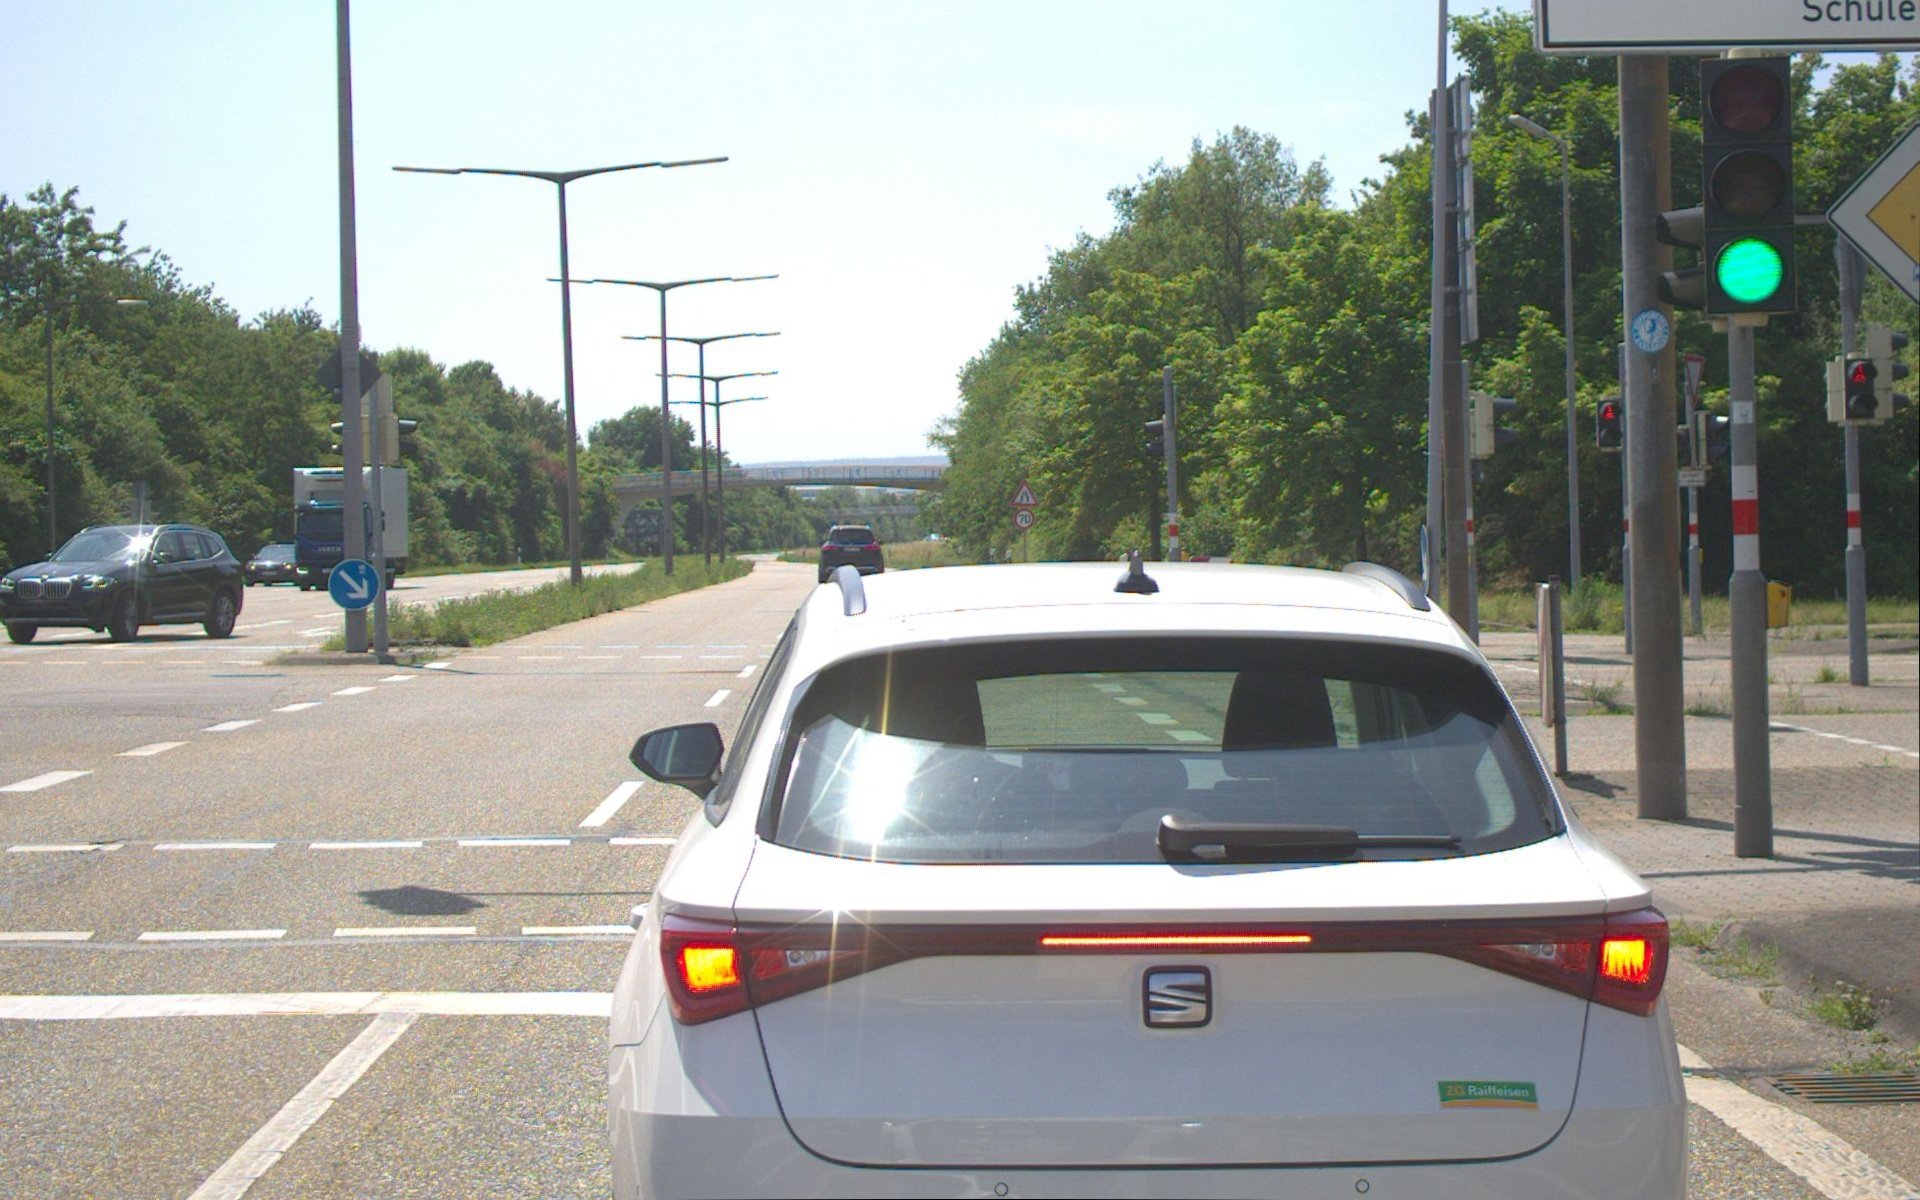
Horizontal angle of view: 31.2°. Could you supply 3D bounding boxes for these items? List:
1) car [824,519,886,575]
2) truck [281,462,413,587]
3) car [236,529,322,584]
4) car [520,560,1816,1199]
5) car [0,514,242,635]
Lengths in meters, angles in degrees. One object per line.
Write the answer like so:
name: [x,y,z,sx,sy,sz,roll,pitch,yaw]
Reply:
car: [-3.337,-1.708,109.831,1.855,1.703,4.000,-1,1,-1]
truck: [-18.032,-2.239,101.531,2.687,3.558,7.268,0,1,-1]
car: [-22.150,-1.429,111.942,1.822,1.726,4.926,-1,1,-1]
car: [0.256,0.651,6.479,1.734,1.423,3.695,1,1,-1]
car: [-12.229,-0.403,50.123,1.708,1.657,4.220,-1,1,15]
